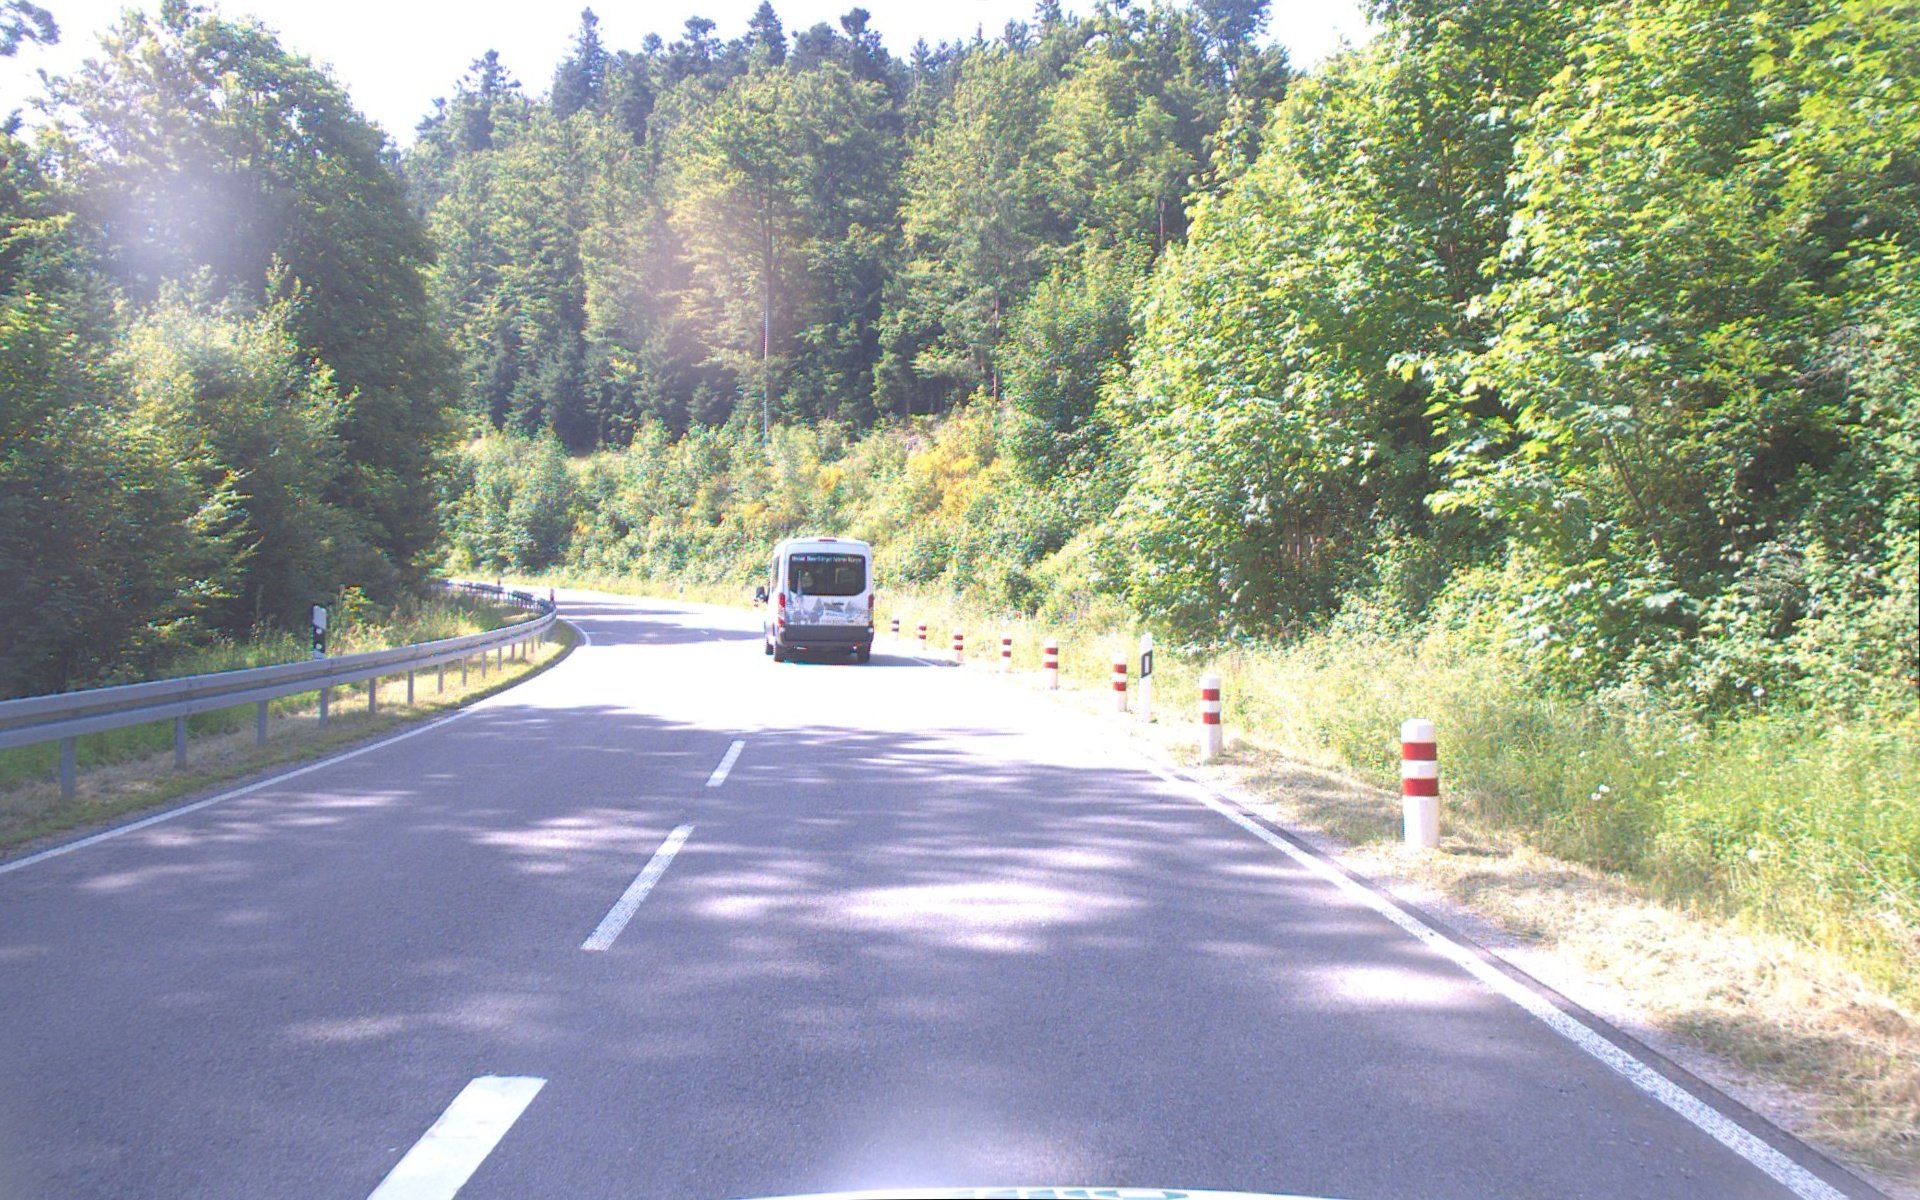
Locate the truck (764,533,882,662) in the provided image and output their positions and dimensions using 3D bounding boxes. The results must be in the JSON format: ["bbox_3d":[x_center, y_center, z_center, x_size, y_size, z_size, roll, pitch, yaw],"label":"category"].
[{"bbox_3d":[-3.015,-0.096,35.337,2.077,2.542,5.347,0,1,-10],"label":"truck"}]
